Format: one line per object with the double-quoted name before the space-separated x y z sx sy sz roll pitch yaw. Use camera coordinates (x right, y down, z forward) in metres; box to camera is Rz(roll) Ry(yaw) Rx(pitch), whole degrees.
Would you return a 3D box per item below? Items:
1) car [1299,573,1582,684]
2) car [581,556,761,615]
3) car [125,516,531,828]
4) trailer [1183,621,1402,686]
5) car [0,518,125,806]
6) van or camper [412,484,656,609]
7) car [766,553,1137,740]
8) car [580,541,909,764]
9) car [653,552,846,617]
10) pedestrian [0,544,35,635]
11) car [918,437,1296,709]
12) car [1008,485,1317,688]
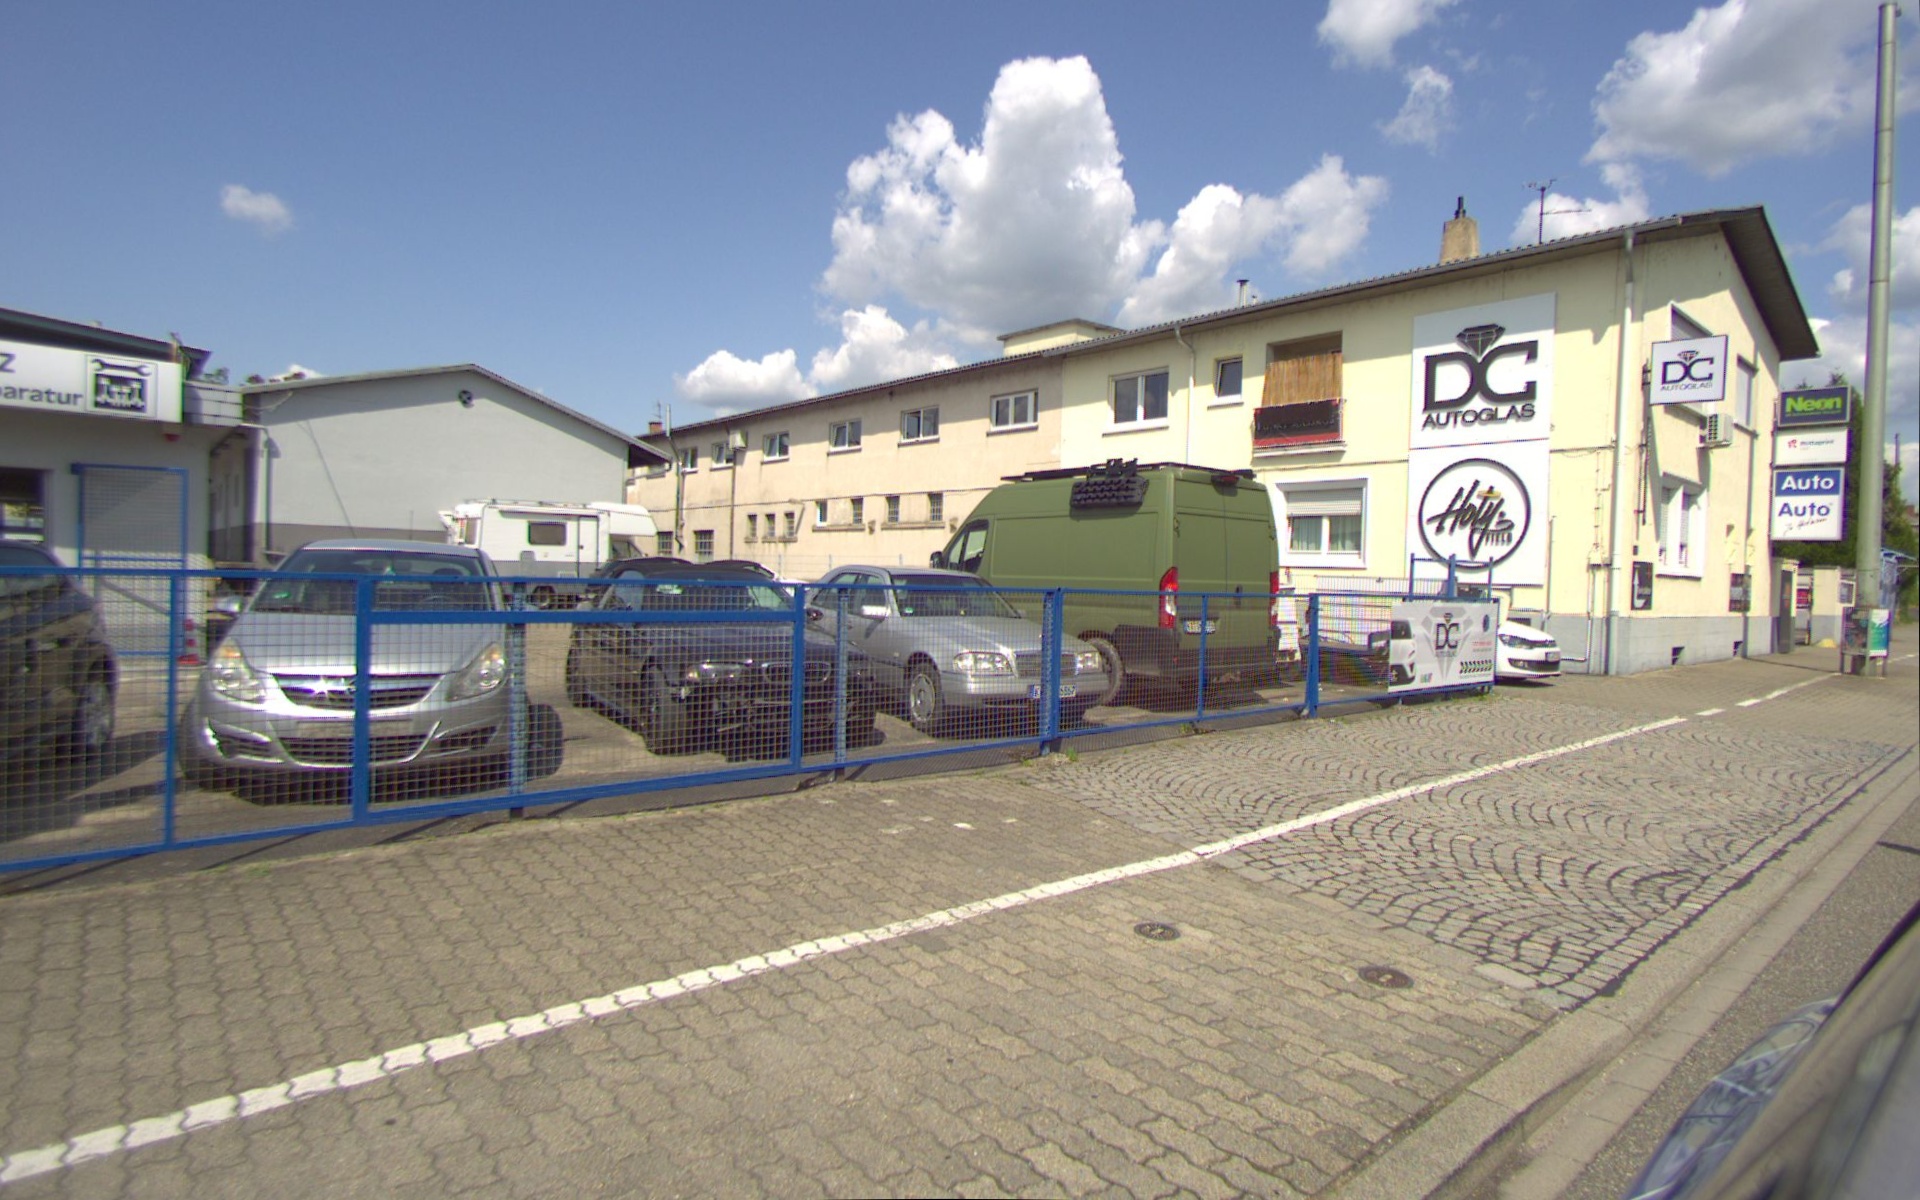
"car" 7.539 0.364 16.179 1.527 1.481 3.775 1 2 -39
"car" -7.302 -0.356 25.811 4.112 1.378 1.645 0 2 -41
"car" -3.894 0.283 6.841 1.736 1.470 3.778 1 2 -24
"trailer" 4.754 0.728 14.651 1.307 0.674 2.730 0 2 -42
"car" -5.635 0.306 4.868 1.606 1.470 3.701 1 2 -25
"van or camper" -11.299 -1.322 27.111 5.556 3.002 2.272 0 2 -42
"car" -0.334 0.289 10.203 1.679 1.470 4.292 1 2 -33
"car" -2.124 0.276 8.898 1.737 1.470 4.128 1 2 -28
"car" -4.840 -0.346 23.548 4.112 1.378 1.645 0 2 -41
"pedestrian" -13.157 -0.155 13.882 0.652 1.224 0.566 1 1 -39
"car" 1.592 -0.347 12.256 2.075 2.675 4.208 1 2 -39
"car" 2.673 -0.243 14.265 1.557 2.436 4.208 1 2 -39
